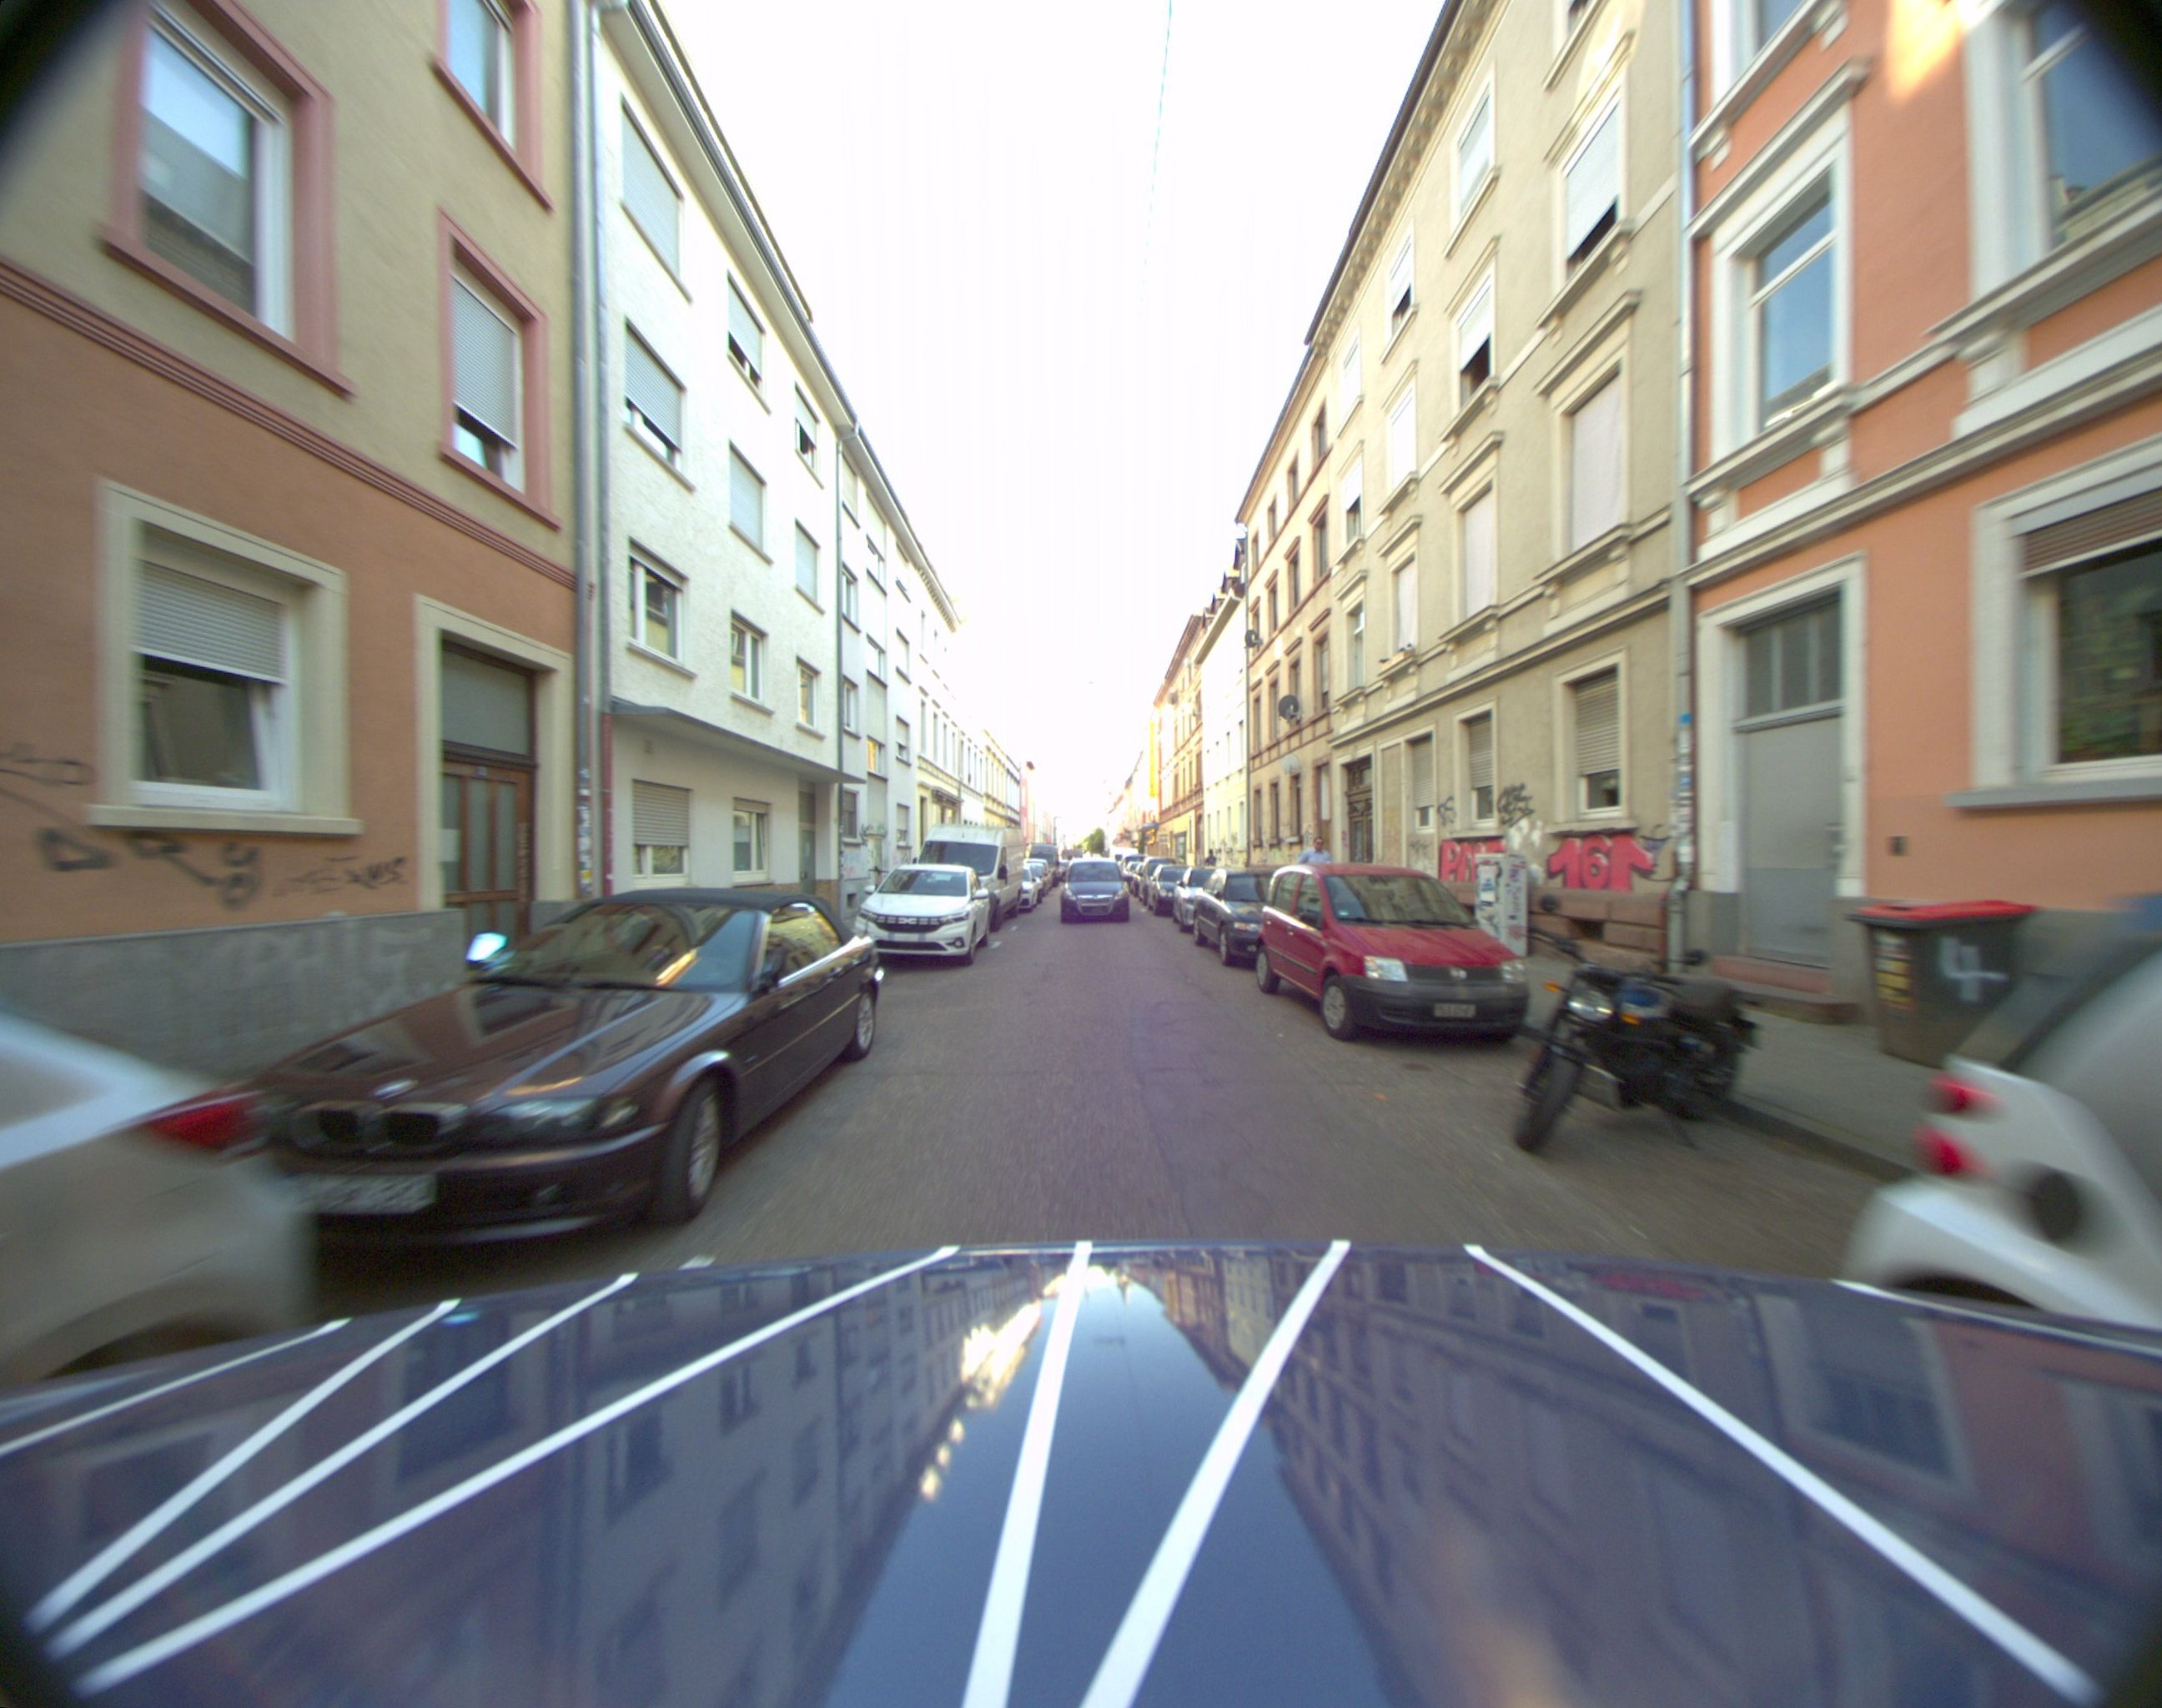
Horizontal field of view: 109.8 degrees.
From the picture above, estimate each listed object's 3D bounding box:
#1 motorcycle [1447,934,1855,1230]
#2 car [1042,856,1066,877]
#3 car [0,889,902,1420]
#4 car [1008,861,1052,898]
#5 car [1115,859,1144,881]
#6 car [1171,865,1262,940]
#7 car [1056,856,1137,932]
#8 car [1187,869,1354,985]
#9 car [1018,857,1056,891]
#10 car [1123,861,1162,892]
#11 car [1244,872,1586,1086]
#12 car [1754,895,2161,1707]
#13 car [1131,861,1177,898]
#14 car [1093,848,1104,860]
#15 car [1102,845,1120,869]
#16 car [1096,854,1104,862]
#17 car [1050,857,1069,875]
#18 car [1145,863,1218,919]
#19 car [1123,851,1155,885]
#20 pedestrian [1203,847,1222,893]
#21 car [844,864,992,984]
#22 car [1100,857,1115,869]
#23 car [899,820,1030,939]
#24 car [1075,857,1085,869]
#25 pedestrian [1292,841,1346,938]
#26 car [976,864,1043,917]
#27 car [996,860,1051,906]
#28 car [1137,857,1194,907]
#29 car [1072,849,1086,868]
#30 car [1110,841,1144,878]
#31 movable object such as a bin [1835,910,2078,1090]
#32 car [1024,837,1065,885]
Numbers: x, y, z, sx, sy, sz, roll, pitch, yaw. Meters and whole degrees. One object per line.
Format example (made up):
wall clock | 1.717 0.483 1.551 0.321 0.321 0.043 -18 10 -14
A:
motorcycle | 3.139 1.111 4.180 2.083 1.121 0.789 -2 0 -21
car | -2.121 0.979 60.368 1.683 1.588 3.860 -2 0 0
car | -2.522 1.049 4.632 1.772 1.386 4.494 -2 0 0
car | -2.244 1.112 34.416 1.683 1.511 3.860 -2 0 0
car | 3.154 1.024 50.303 1.683 1.381 3.860 -1 0 1
car | 2.994 1.011 17.405 1.683 1.454 3.861 -1 0 5
car | 0.346 0.909 19.847 1.798 1.652 5.184 -2 0 0
car | 2.868 1.028 12.417 1.683 1.454 4.313 -1 0 1
car | -2.252 1.012 39.701 1.683 1.625 3.860 -2 0 0
car | 3.033 1.109 38.308 1.683 1.407 3.860 -1 0 1
car | 2.880 0.969 7.457 1.683 1.483 3.611 -1 0 -1
car | 2.802 0.888 0.681 1.684 1.540 2.959 0 0 -3
car | 3.142 1.076 33.267 1.683 1.448 3.860 -1 0 1
car | 4.726 -0.066 207.414 2.565 3.029 7.061 -2 0 0
car | 3.084 0.294 77.656 1.683 2.352 4.098 -1 0 1
car | 4.489 0.928 176.833 1.683 1.851 4.159 -2 0 0
car | -2.065 1.115 73.197 1.683 1.588 3.860 -2 0 0
car | 2.875 1.021 22.533 1.683 1.454 3.860 -1 0 1
car | 3.399 0.803 45.122 1.751 1.880 4.772 -1 0 3
pedestrian | 5.310 0.629 30.680 0.626 1.820 0.594 -2 1 1
car | -2.492 0.996 12.501 1.684 1.550 3.859 -2 0 -2
car | 3.204 1.083 92.671 1.683 1.381 3.860 -1 0 1
car | -2.717 0.549 19.396 2.050 2.498 6.024 -2 0 3
car | -0.185 1.574 134.821 1.683 2.077 4.159 -2 0 0
pedestrian | 4.579 0.671 14.660 0.790 1.820 0.594 -2 1 1
car | -2.226 1.108 24.426 1.683 1.434 3.860 -2 0 1
car | -2.144 1.056 29.253 1.683 1.556 3.860 -2 0 1
car | 3.010 0.955 27.698 1.683 1.674 3.860 -1 0 1
car | -0.361 0.845 141.631 2.437 3.404 5.543 -2 0 0
car | 3.322 0.386 56.341 2.094 2.576 5.842 -1 0 0
movable object such as a bin | 5.709 0.930 5.007 0.779 1.043 0.662 -3 0 9
car | -2.116 0.401 45.869 2.050 2.662 6.185 -2 0 1
